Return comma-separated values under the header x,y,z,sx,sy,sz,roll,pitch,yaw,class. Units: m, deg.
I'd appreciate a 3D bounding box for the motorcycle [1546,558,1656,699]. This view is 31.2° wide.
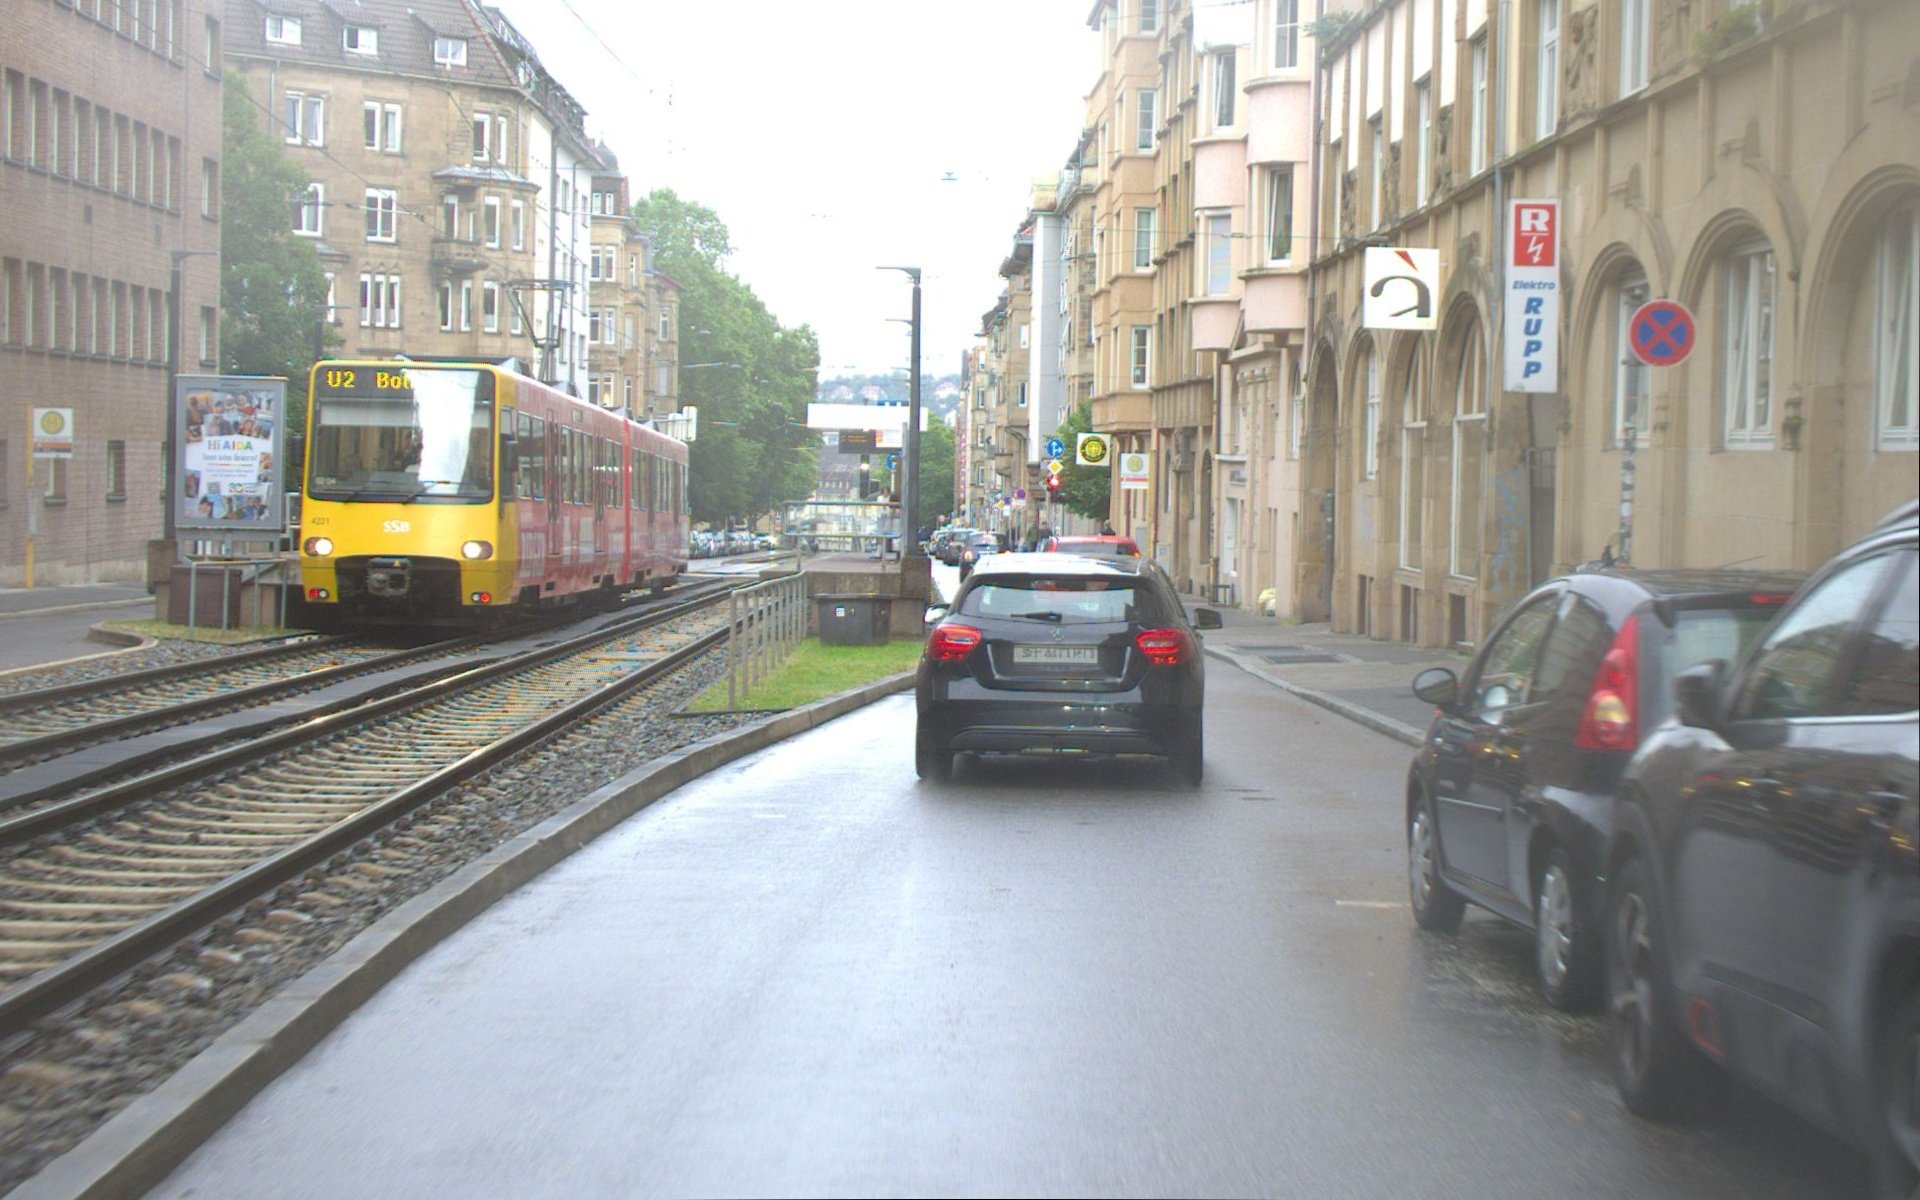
x,y,z,sx,sy,sz,roll,pitch,yaw,class
5.719,0.234,30.770,0.556,1.156,2.269,-3,1,2,motorcycle

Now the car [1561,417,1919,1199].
x,y,z,sx,sy,sz,roll,pitch,yaw,class
2.665,0.530,7.907,1.778,1.744,4.548,0,0,0,car

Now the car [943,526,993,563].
x,y,z,sx,sy,sz,roll,pitch,yaw,class
0.349,-2.443,151.652,2.134,1.520,4.246,2,1,0,car

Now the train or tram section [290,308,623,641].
x,y,z,sx,sy,sz,roll,pitch,yaw,class
-7.004,-1.717,50.670,2.745,4.048,17.216,0,1,-1,train or tram section

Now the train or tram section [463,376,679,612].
x,y,z,sx,sy,sz,roll,pitch,yaw,class
-7.339,-1.989,67.038,2.745,4.048,15.663,0,1,-1,train or tram section

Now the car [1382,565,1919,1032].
x,y,z,sx,sy,sz,roll,pitch,yaw,class
2.628,0.624,12.527,1.591,1.435,3.310,2,0,-2,car

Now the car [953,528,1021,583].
x,y,z,sx,sy,sz,roll,pitch,yaw,class
0.798,-1.298,100.664,1.887,1.520,4.245,2,1,1,car

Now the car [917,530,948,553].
x,y,z,sx,sy,sz,roll,pitch,yaw,class
-1.949,-4.176,245.698,2.134,1.520,4.246,2,1,0,car

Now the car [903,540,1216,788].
x,y,z,sx,sy,sz,roll,pitch,yaw,class
0.576,0.349,22.295,1.834,1.448,3.902,1,1,0,car

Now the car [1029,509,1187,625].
x,y,z,sx,sy,sz,roll,pitch,yaw,class
2.049,-0.480,48.721,1.993,1.520,4.246,2,1,0,car
